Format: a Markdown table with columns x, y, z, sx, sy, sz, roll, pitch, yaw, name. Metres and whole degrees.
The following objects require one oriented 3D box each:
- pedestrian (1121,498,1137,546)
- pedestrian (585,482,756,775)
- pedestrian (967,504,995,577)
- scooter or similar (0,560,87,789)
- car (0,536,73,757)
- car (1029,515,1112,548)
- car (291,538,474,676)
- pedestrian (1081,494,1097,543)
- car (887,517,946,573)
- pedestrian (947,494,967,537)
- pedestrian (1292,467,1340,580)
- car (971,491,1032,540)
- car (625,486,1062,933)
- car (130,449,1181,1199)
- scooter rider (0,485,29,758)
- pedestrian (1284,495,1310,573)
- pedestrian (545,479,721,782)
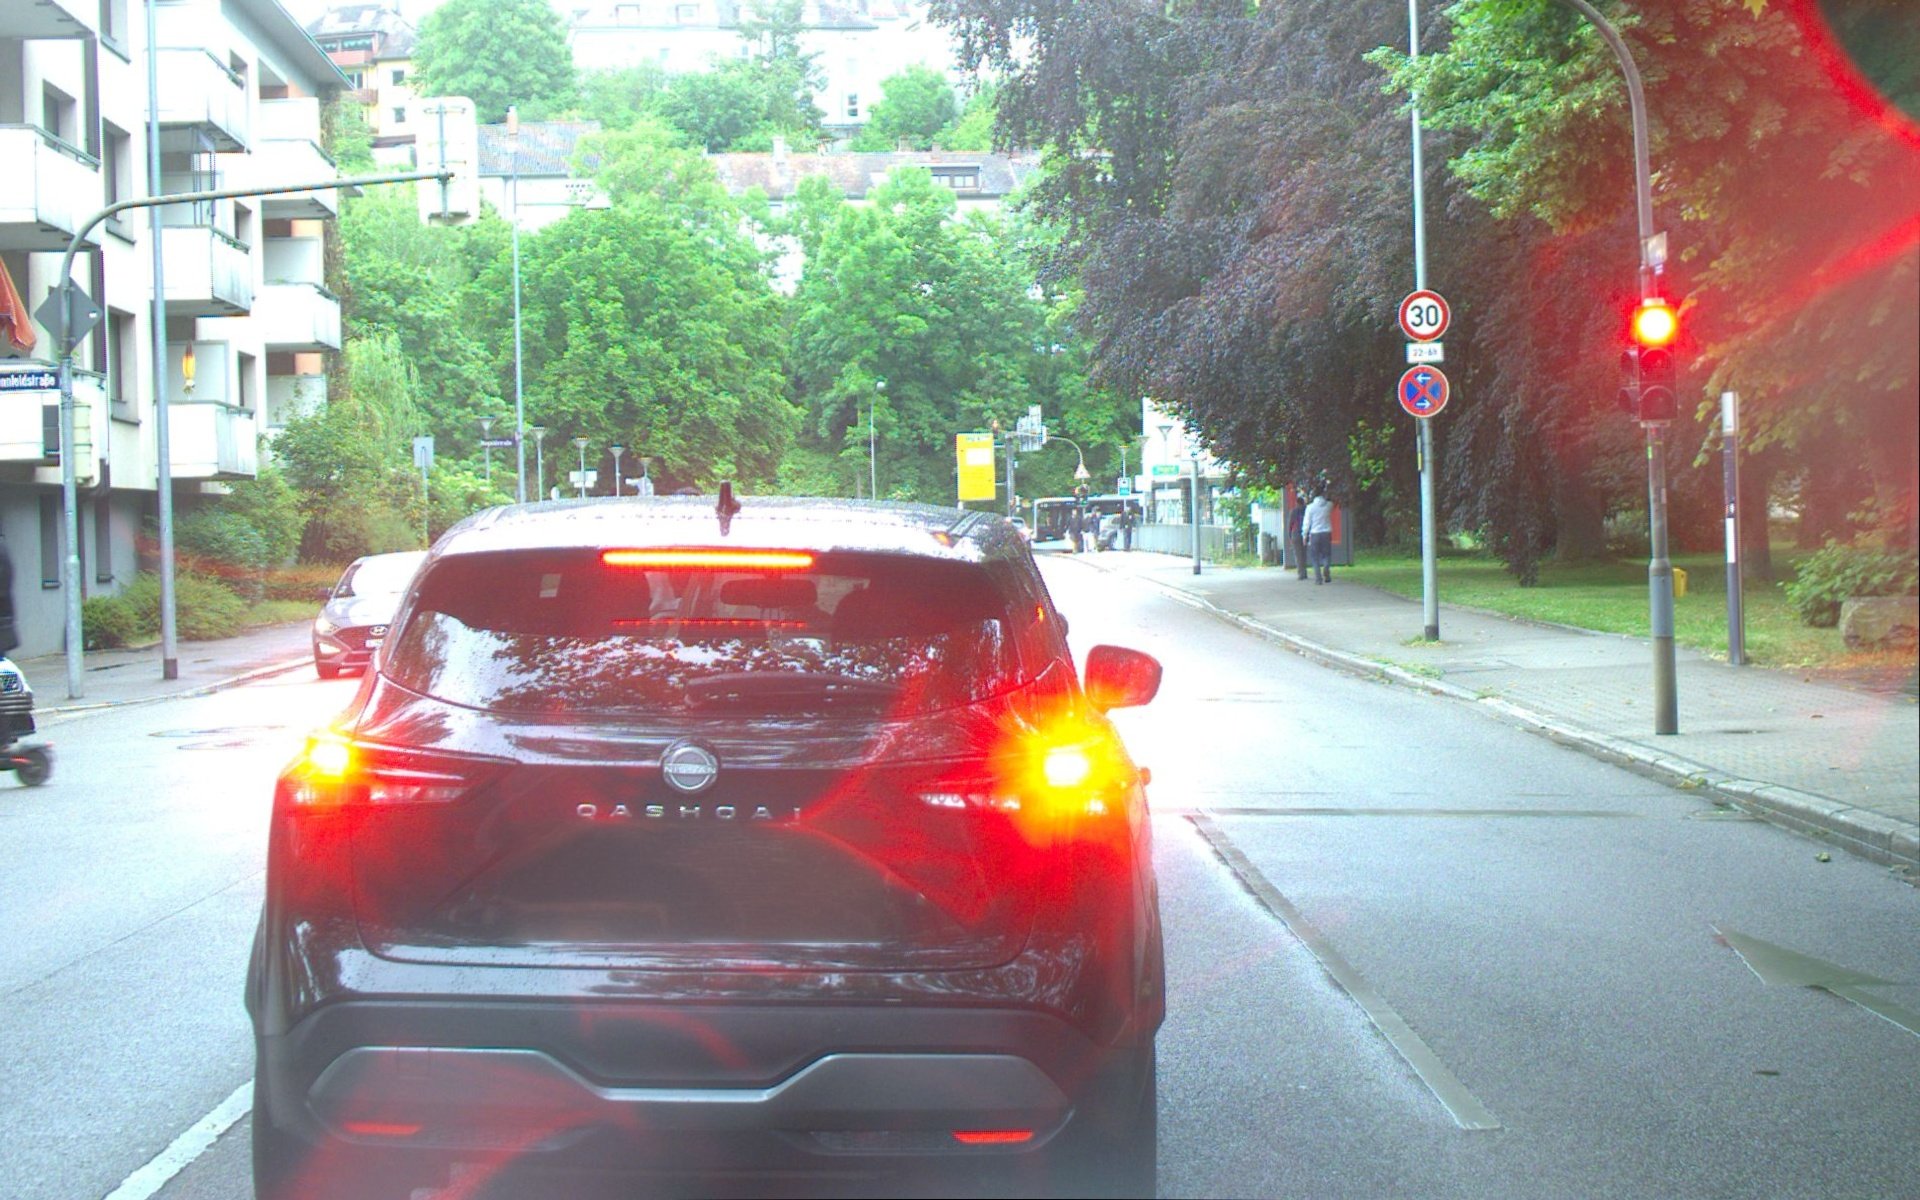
| x | y | z | sx | sy | sz | roll | pitch | yaw | name |
| --- | --- | --- | --- | --- | --- | --- | --- | --- | --- |
| 6.306 | -2.909 | 128.185 | 0.508 | 1.795 | 0.619 | -2 | 1 | -2 | pedestrian |
| -1.886 | 0.177 | 22.347 | 1.035 | 1.869 | 0.658 | 0 | 1 | -11 | pedestrian |
| 0.528 | -1.505 | 86.862 | 0.617 | 1.795 | 0.510 | -2 | 1 | 0 | pedestrian |
| -6.507 | 0.503 | 22.541 | 1.393 | 1.440 | 0.817 | -3 | 2 | -11 | scooter or similar |
| -9.095 | 0.414 | 26.131 | 4.127 | 1.620 | 1.850 | -2 | 1 | 15 | car |
| 5.734 | -3.538 | 178.042 | 3.953 | 1.527 | 1.640 | -2 | 1 | -13 | car |
| -7.008 | 0.049 | 42.048 | 1.795 | 1.528 | 3.868 | -2 | 1 | -4 | car |
| 4.801 | -3.038 | 128.154 | 0.508 | 1.795 | 0.619 | -2 | 1 | -1 | pedestrian |
| -1.262 | -1.616 | 99.782 | 1.634 | 1.527 | 3.968 | -2 | 1 | -1 | car |
| -0.111 | -3.345 | 136.337 | 0.509 | 1.667 | 0.658 | -1 | 1 | 27 | pedestrian |
| 6.458 | -1.387 | 62.391 | 0.725 | 2.007 | 0.851 | -2 | 1 | 0 | pedestrian |
| 1.539 | -3.092 | 126.484 | 1.994 | 1.729 | 3.999 | 1 | 1 | 4 | car |
| -0.492 | 0.401 | 15.674 | 1.698 | 1.739 | 3.641 | -2 | 1 | -1 | car |
| -0.576 | 0.520 | 8.277 | 1.913 | 1.674 | 4.000 | 0 | 1 | -1 | car |
| -6.445 | 0.144 | 22.456 | 0.643 | 1.760 | 0.735 | -1 | 0 | -13 | scooter rider |
| 6.562 | -1.281 | 66.933 | 0.390 | 1.497 | 0.559 | -2 | 1 | 0 | pedestrian |
| -2.058 | 0.184 | 21.595 | 1.035 | 1.869 | 0.658 | 0 | 1 | -11 | pedestrian |
